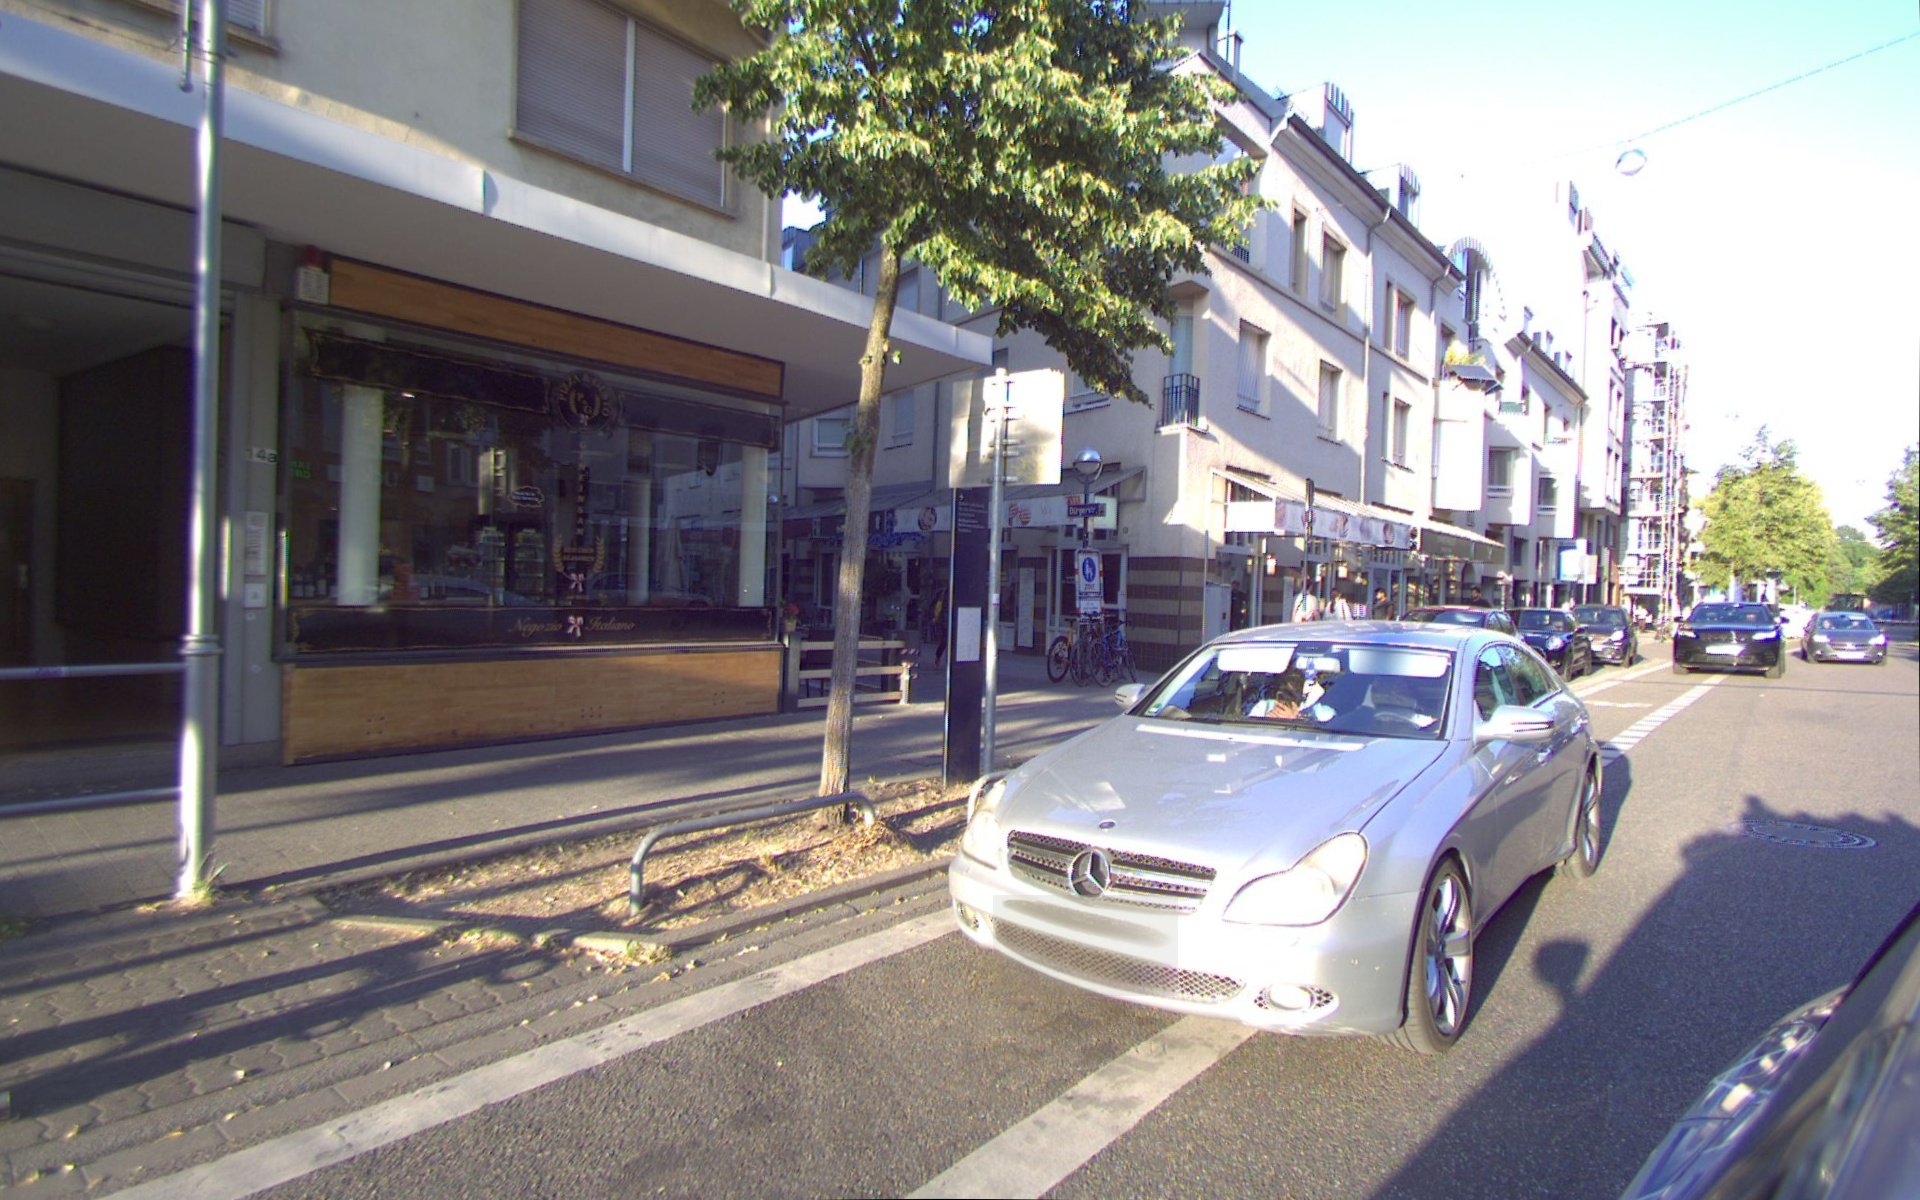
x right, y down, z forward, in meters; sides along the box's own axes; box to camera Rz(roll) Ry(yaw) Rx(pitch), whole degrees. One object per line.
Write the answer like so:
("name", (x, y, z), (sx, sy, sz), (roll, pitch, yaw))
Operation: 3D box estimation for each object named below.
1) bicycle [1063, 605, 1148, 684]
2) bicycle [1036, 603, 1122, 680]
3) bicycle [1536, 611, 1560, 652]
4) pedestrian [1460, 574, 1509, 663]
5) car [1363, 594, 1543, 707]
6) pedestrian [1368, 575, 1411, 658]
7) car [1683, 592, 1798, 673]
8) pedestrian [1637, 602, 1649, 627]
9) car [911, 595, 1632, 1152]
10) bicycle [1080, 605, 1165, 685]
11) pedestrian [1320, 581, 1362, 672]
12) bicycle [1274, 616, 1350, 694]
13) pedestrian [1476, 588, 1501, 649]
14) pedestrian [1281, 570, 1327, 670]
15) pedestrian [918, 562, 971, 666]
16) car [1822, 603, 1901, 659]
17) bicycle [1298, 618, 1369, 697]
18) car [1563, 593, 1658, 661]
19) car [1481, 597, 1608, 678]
("bicycle", (2.239, 0.642, 15.401), (0.290, 1.118, 1.859), (2, 1, 41))
("bicycle", (1.869, 0.612, 15.722), (0.320, 1.118, 1.851), (2, 1, 41))
("bicycle", (16.254, 0.860, 27.953), (0.295, 1.099, 1.441), (1, 1, 41))
("pedestrian", (11.511, 0.399, 22.231), (0.776, 1.907, 0.660), (-2, -2, 41))
("car", (7.773, 0.691, 15.779), (1.587, 1.451, 3.868), (4, 2, 40))
("pedestrian", (9.441, 0.352, 22.249), (0.629, 1.771, 0.660), (3, 2, 41))
("car", (17.939, 0.676, 23.188), (1.884, 1.656, 4.165), (0, 0, 41))
("pedestrian", (36.281, 0.763, 53.778), (0.490, 1.279, 0.415), (0, 0, 42))
("car", (1.944, 0.702, 4.959), (1.740, 1.418, 4.572), (0, 0, 40))
("bicycle", (2.465, 0.646, 15.195), (0.320, 1.118, 1.851), (2, 1, 41))
("pedestrian", (7.010, 0.481, 18.640), (0.519, 1.612, 0.402), (5, 3, 41))
("bicycle", (5.265, 0.793, 15.084), (0.314, 1.059, 1.853), (3, 2, 43))
("pedestrian", (15.904, 0.549, 30.472), (0.574, 1.823, 0.443), (0, 0, 42))
("pedestrian", (6.354, 0.354, 18.680), (0.543, 1.779, 0.495), (5, 3, 41))
("pedestrian", (-0.272, 0.229, 17.204), (0.688, 1.696, 0.799), (2, 2, -13))
("car", (25.908, 0.849, 29.179), (1.616, 1.492, 3.634), (0, 0, 41))
("bicycle", (5.480, 0.810, 14.807), (0.314, 1.059, 1.638), (3, 2, 43))
("car", (17.187, 0.663, 26.665), (1.615, 1.612, 3.868), (2, 1, 40))
("car", (12.246, 0.712, 21.113), (1.615, 1.452, 3.868), (3, 2, 40))
